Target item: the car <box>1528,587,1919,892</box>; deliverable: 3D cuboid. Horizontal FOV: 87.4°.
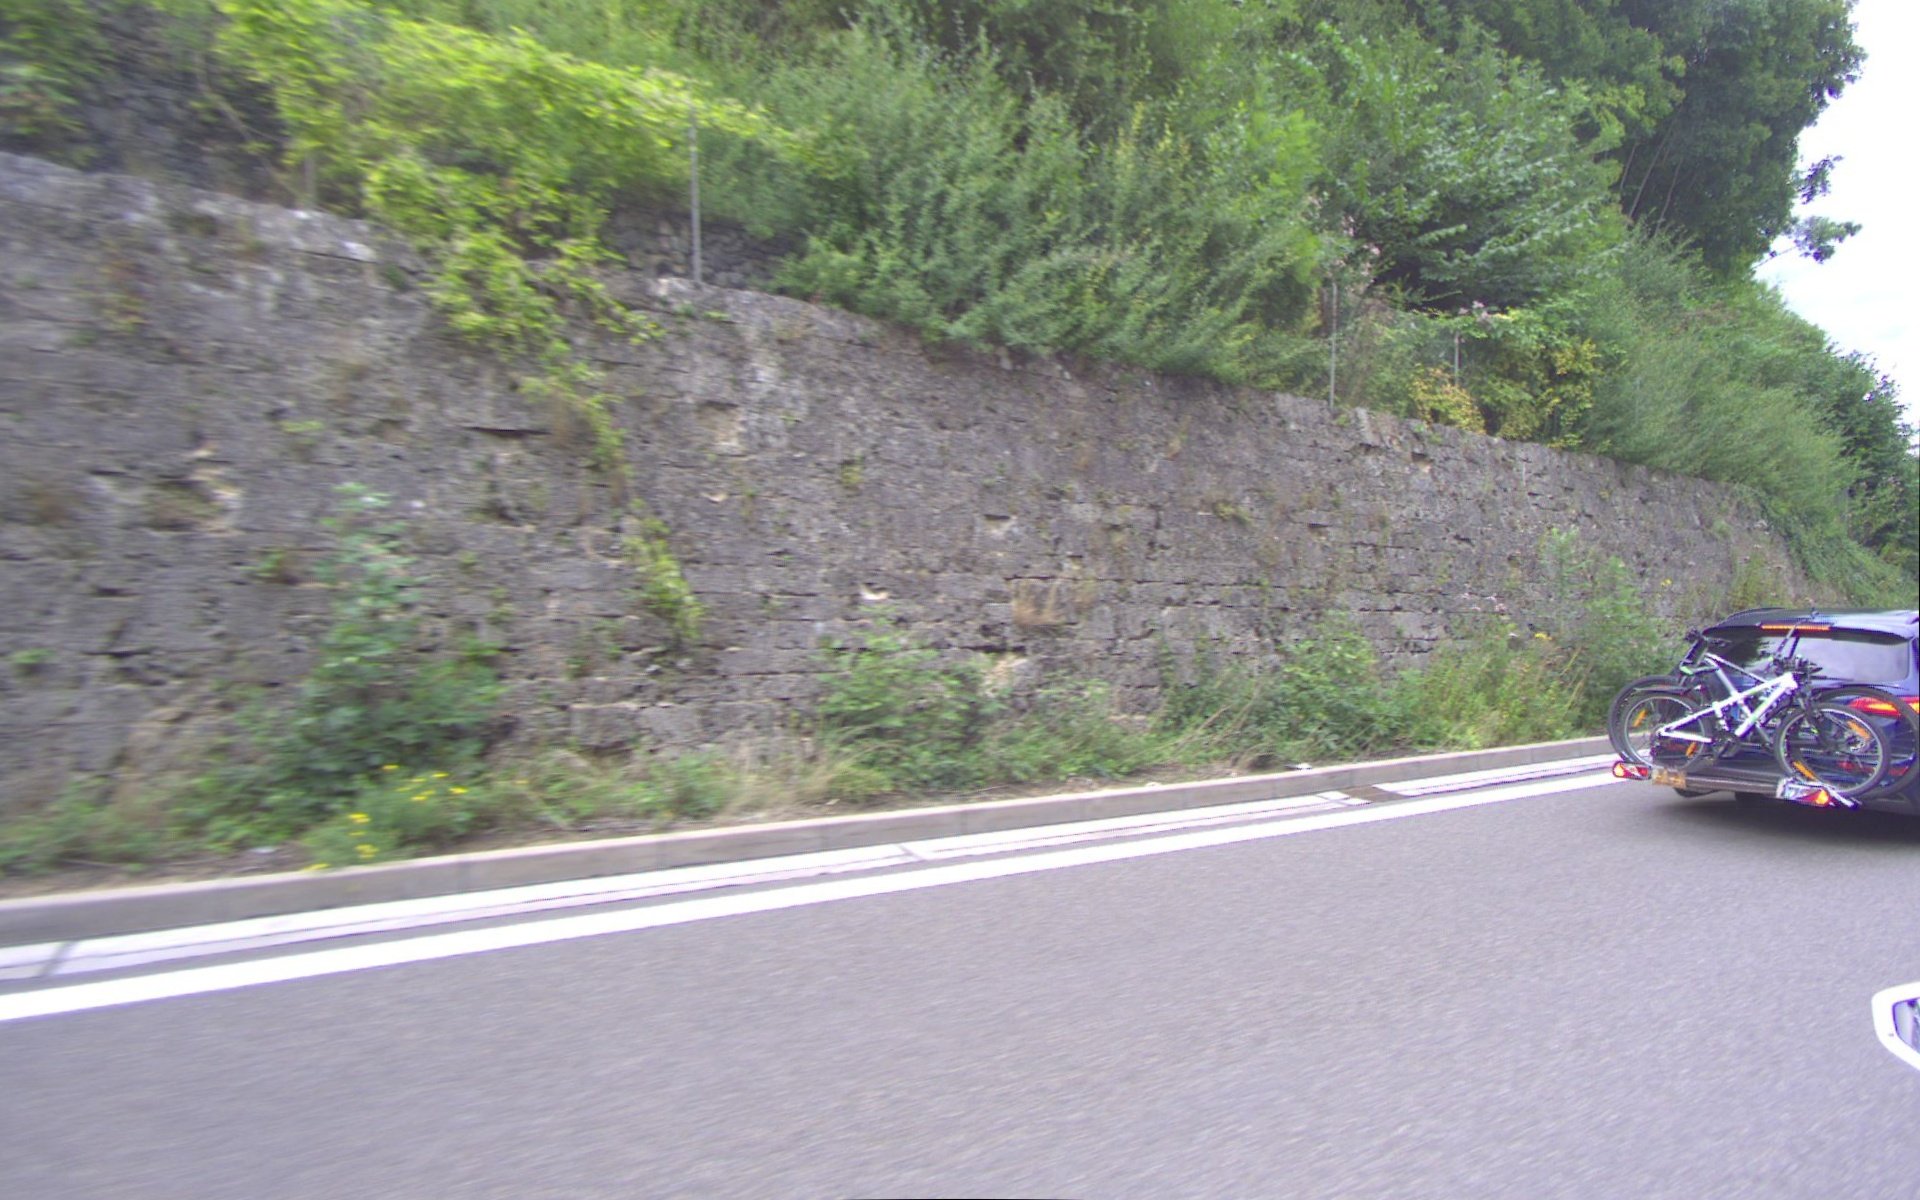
[{"bbox_3d":[6.955,0.859,7.932,5.528,1.614,1.959,2,2,-34],"label":"car"}]
